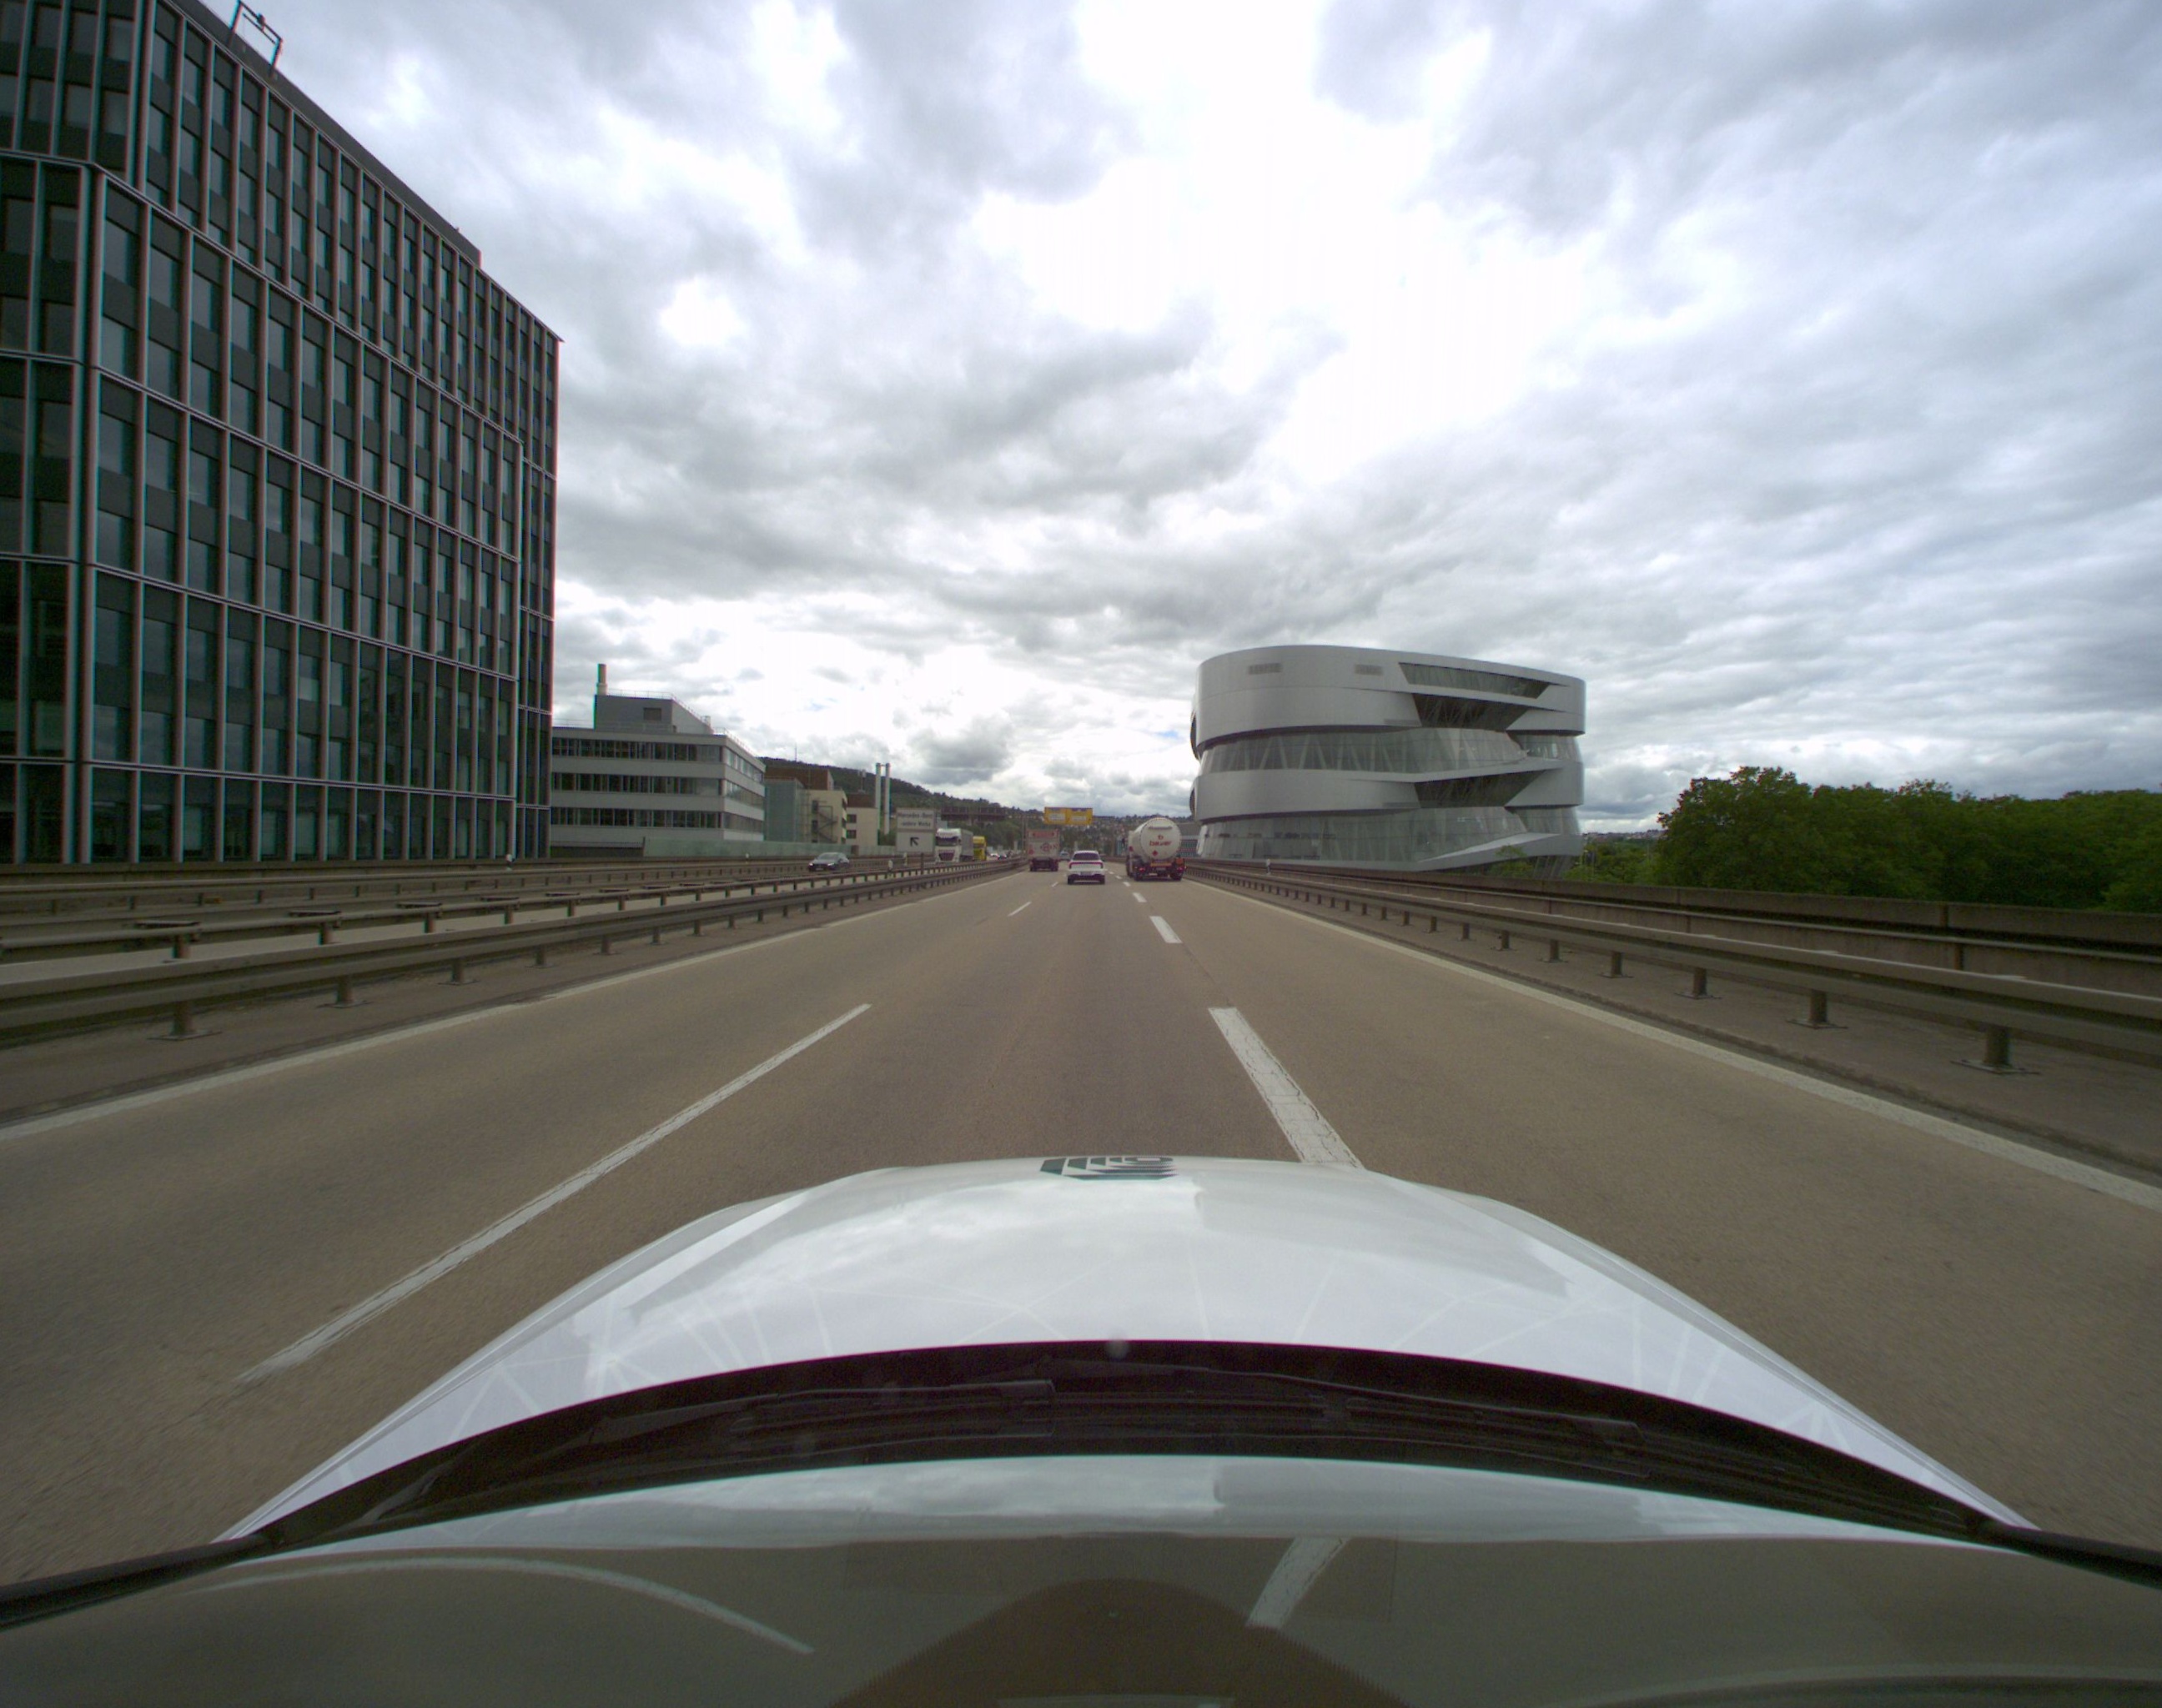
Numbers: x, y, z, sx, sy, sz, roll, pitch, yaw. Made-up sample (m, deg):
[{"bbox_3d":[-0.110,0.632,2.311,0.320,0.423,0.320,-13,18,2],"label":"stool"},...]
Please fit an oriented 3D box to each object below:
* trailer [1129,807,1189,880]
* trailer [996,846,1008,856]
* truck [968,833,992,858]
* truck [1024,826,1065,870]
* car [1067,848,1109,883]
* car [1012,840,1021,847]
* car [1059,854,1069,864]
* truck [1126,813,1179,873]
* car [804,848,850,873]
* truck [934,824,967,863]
[{"bbox_3d":[4.322,-0.506,46.660,3.044,3.790,8.309,0,0,3],"label":"trailer"},{"bbox_3d":[-15.366,-0.579,159.317,1.987,2.014,3.998,0,-1,-1],"label":"trailer"},{"bbox_3d":[-16.969,-1.348,137.216,3.049,4.065,11.846,0,0,-2],"label":"truck"},{"bbox_3d":[-3.113,-0.471,71.709,3.046,3.691,8.306,0,0,1],"label":"truck"},{"bbox_3d":[0.435,0.567,41.824,1.985,1.675,4.411,0,-1,2],"label":"car"},{"bbox_3d":[-15.123,-2.444,192.069,1.989,1.606,4.801,0,-1,-4],"label":"car"},{"bbox_3d":[-2.958,0.843,139.835,1.678,1.650,4.358,1,0,0],"label":"car"},{"bbox_3d":[4.530,-0.632,52.816,3.003,3.657,6.274,0,-1,1],"label":"truck"},{"bbox_3d":[-17.074,0.432,54.931,1.678,1.650,4.358,1,0,0],"label":"car"},{"bbox_3d":[-14.096,-1.059,88.359,2.763,4.079,5.644,0,-1,-1],"label":"truck"}]
